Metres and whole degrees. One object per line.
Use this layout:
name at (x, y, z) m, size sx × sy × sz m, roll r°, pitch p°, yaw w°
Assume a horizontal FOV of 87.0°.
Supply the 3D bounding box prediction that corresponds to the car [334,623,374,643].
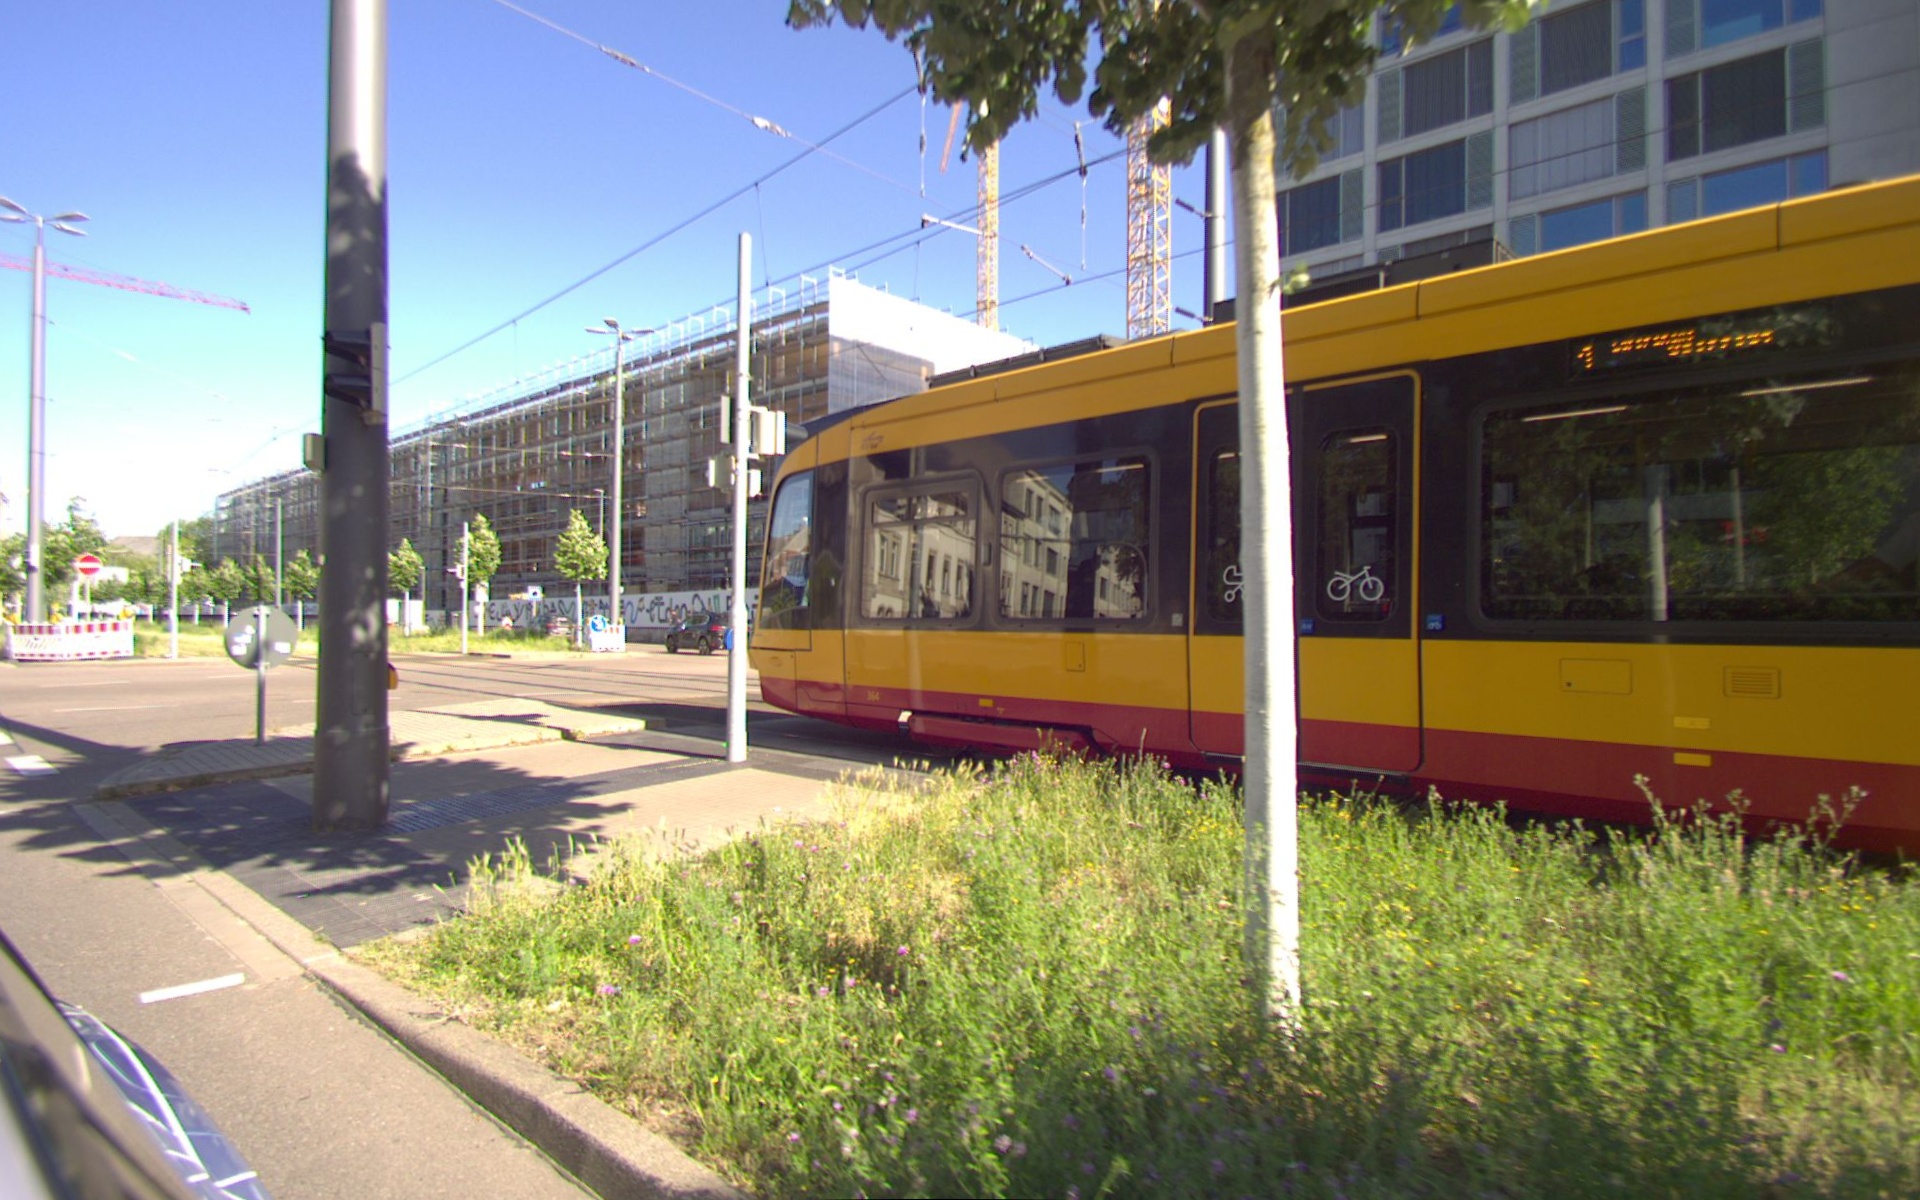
car at (-46.426, 2.526, 77.471) m, size 3.478 × 1.478 × 1.578 m, roll -1°, pitch 0°, yaw 40°

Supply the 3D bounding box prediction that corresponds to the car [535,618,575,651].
car at (-20.946, 1.742, 52.279) m, size 1.858 × 1.586 × 4.013 m, roll 0°, pitch 0°, yaw -23°

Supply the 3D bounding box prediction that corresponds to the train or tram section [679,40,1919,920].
train or tram section at (2.814, -0.484, 6.753) m, size 14.152 × 3.697 × 1.972 m, roll -1°, pitch -1°, yaw 43°

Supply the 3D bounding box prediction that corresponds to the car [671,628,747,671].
car at (-9.834, 1.908, 39.576) m, size 1.700 × 1.508 × 3.583 m, roll 0°, pitch 0°, yaw -35°
